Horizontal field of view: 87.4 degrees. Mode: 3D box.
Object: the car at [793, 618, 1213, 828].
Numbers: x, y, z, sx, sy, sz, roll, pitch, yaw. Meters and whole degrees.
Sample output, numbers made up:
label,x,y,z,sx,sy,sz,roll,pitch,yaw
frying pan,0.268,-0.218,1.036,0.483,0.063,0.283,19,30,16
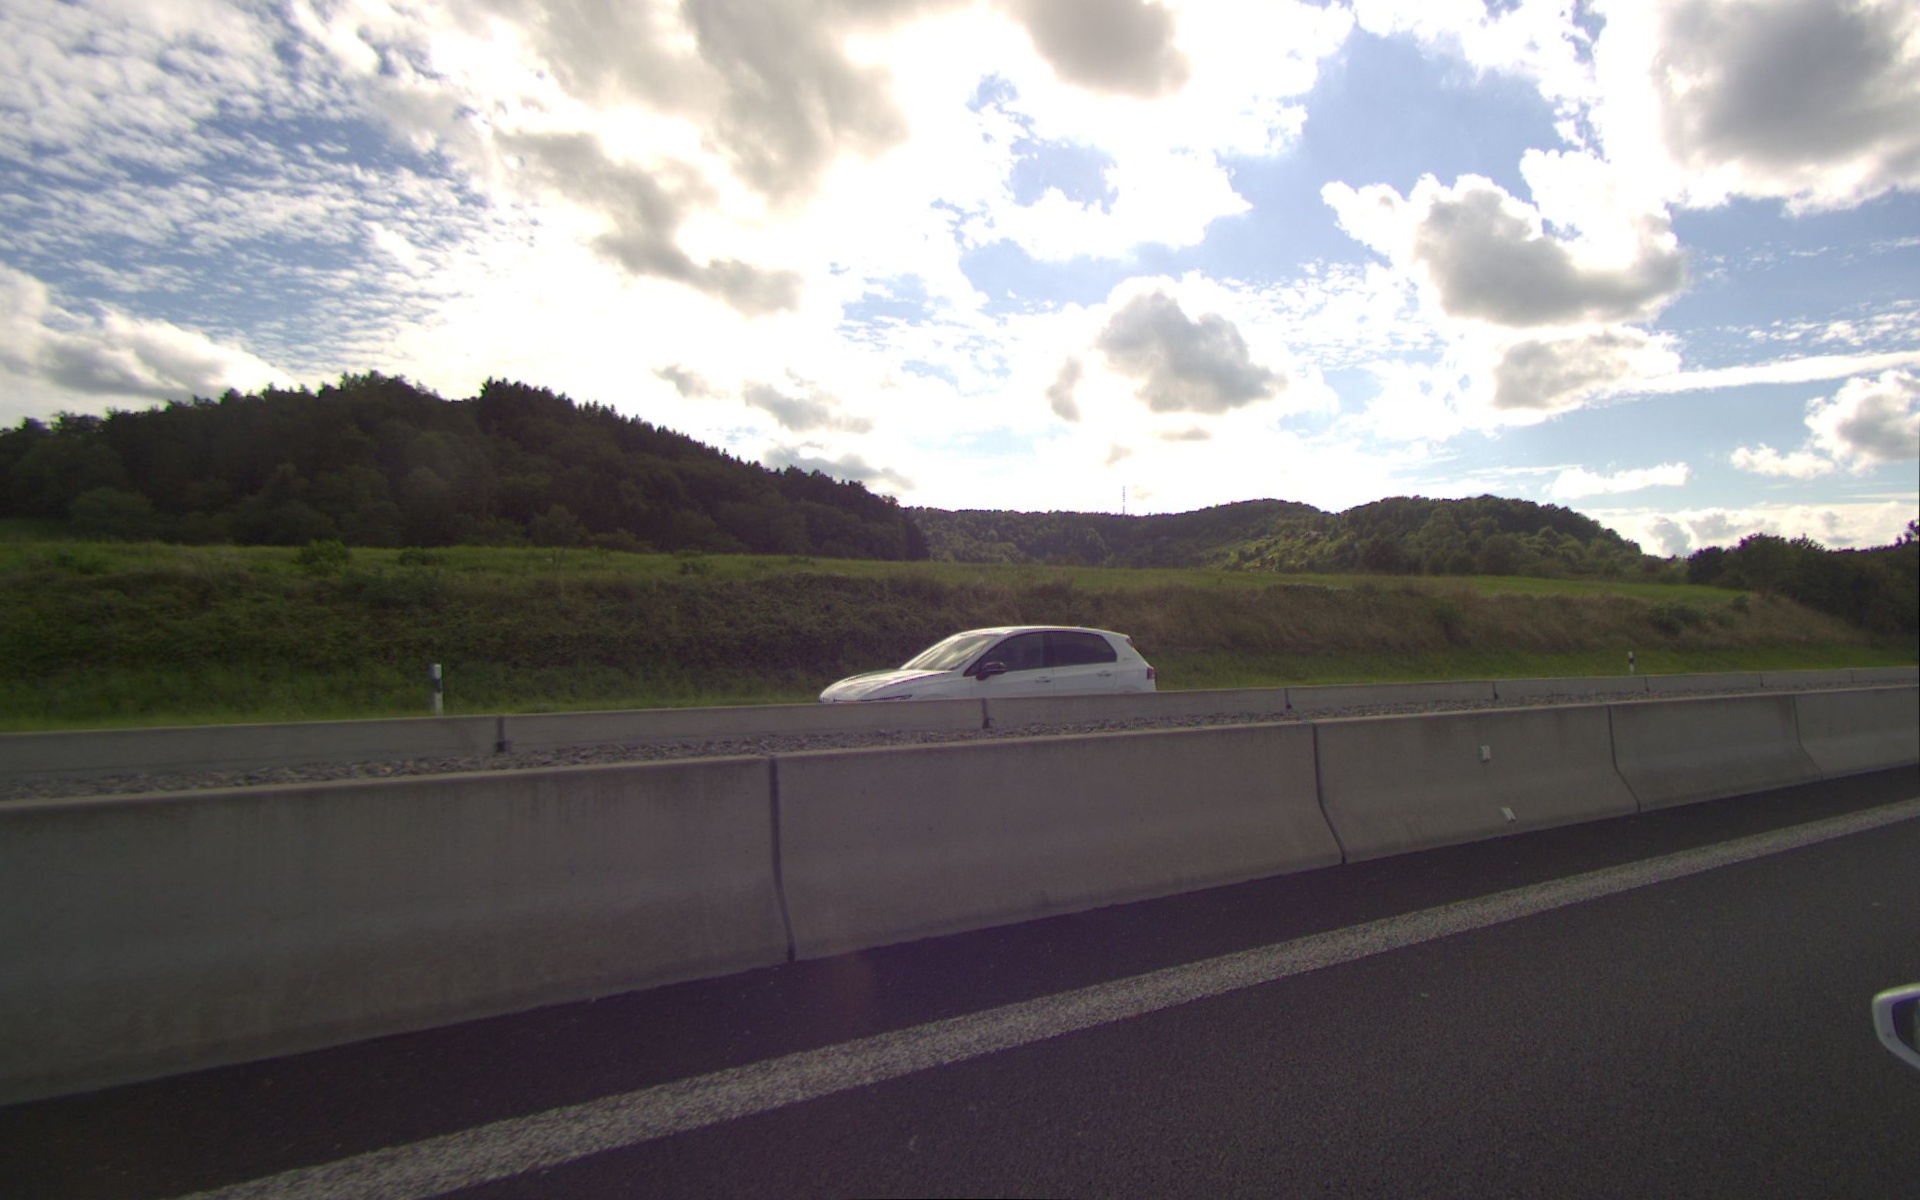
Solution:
label,x,y,z,sx,sy,sz,roll,pitch,yaw
car,0.574,1.262,11.844,4.623,2.040,1.984,1,-1,-30
